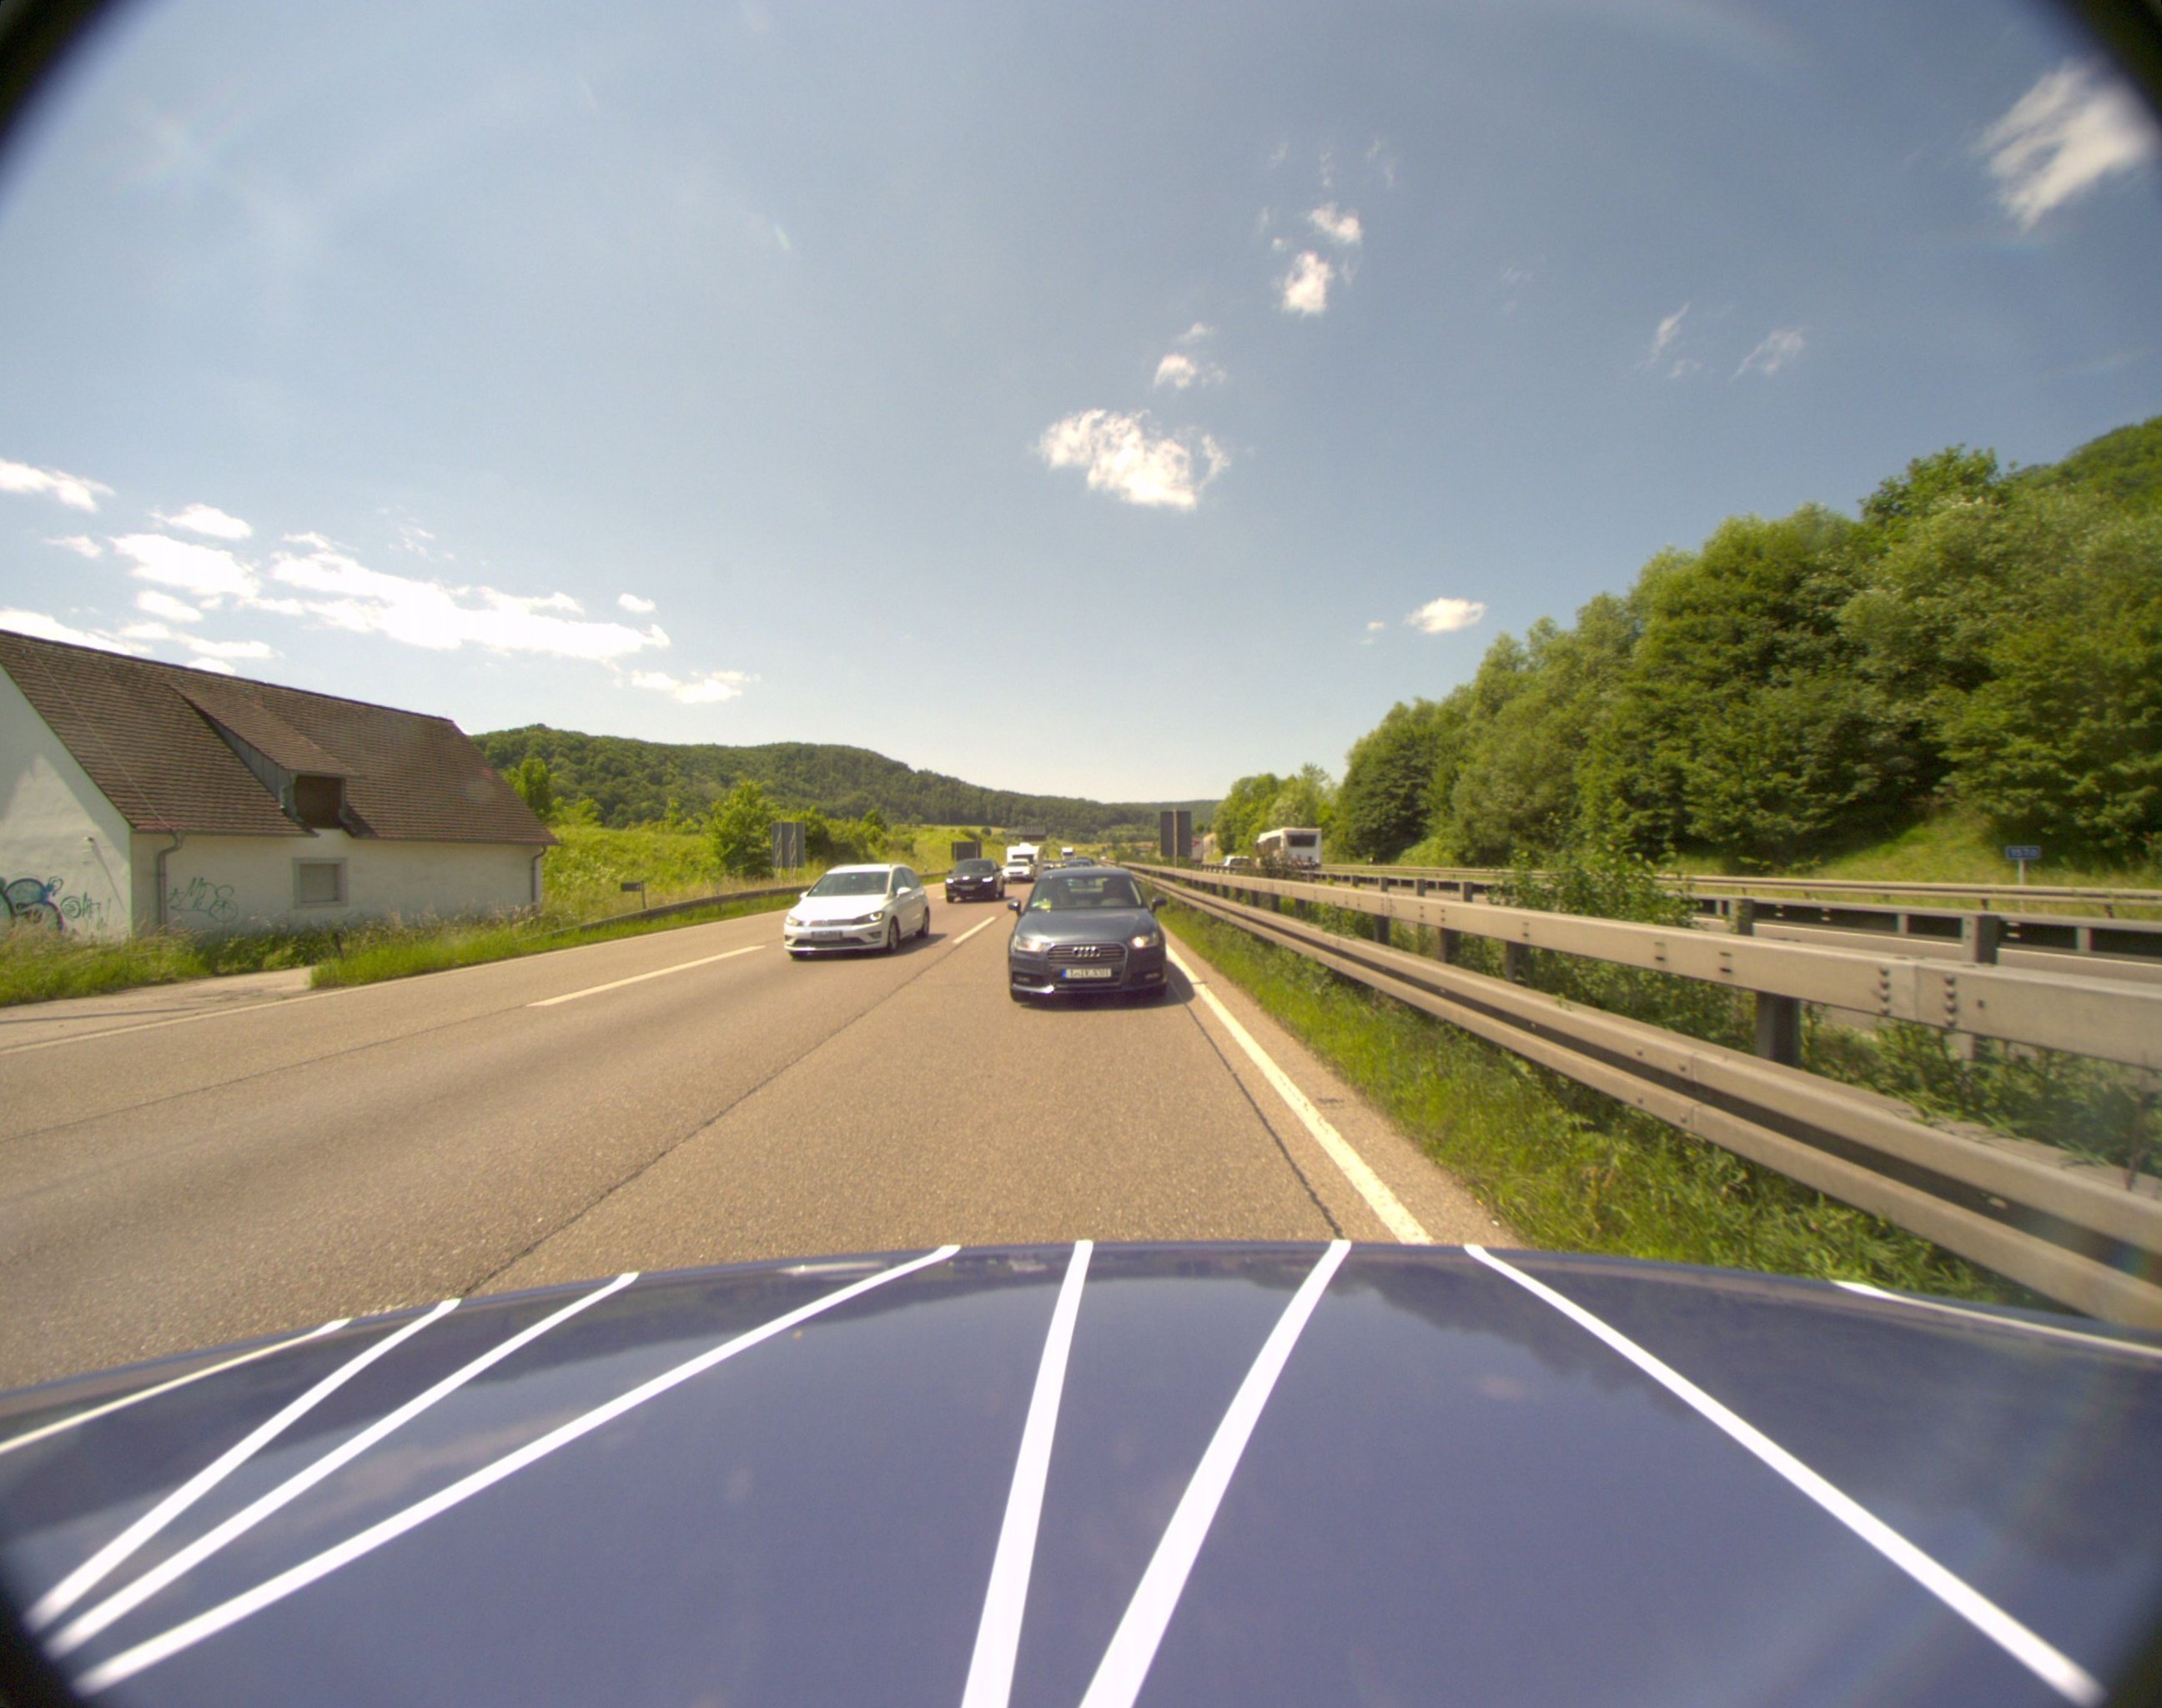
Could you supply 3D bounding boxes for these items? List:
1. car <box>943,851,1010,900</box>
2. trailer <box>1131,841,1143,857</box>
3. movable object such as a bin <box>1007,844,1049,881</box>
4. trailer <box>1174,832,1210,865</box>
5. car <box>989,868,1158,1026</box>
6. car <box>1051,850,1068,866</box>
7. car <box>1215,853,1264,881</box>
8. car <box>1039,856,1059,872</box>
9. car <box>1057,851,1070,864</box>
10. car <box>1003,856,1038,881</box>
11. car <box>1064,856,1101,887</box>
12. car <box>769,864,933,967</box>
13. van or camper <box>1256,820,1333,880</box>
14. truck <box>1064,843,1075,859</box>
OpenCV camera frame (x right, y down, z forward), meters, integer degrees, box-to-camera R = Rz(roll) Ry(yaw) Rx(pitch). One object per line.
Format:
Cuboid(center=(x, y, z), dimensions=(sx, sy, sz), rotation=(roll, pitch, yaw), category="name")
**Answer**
Cuboid(center=(-3.991, 0.798, 29.708), dimensions=(1.893, 1.761, 4.172), rotation=(-1, 0, 2), category="car")
Cuboid(center=(14.966, -1.382, 204.505), dimensions=(2.587, 3.981, 12.601), rotation=(-2, 0, 1), category="trailer")
Cuboid(center=(-3.968, 0.603, 57.727), dimensions=(2.481, 2.616, 6.709), rotation=(-2, 0, 1), category="movable object such as a bin")
Cuboid(center=(14.187, -0.677, 98.388), dimensions=(2.789, 3.976, 14.159), rotation=(-1, 0, 1), category="trailer")
Cuboid(center=(0.060, 0.940, 9.302), dimensions=(1.591, 1.401, 4.001), rotation=(-2, 0, 4), category="car")
Cuboid(center=(-2.816, 0.555, 99.009), dimensions=(1.999, 2.002, 3.998), rotation=(-1, 0, -6), category="car")
Cuboid(center=(8.829, 0.677, 42.662), dimensions=(1.802, 1.455, 4.536), rotation=(-1, 0, 0), category="car")
Cuboid(center=(-3.190, 0.946, 76.513), dimensions=(1.711, 1.542, 4.000), rotation=(-1, 0, 1), category="car")
Cuboid(center=(-2.787, 0.506, 123.251), dimensions=(1.998, 2.002, 4.000), rotation=(-2, 0, 0), category="car")
Cuboid(center=(-3.985, 0.923, 50.586), dimensions=(1.821, 1.574, 4.000), rotation=(-2, 0, 1), category="car")
Cuboid(center=(0.134, 0.932, 41.407), dimensions=(1.835, 1.586, 4.001), rotation=(-1, 0, 2), category="car")
Cuboid(center=(-4.044, 0.999, 14.085), dimensions=(1.777, 1.532, 4.054), rotation=(-2, 0, -1), category="car")
Cuboid(center=(12.715, -0.232, 45.954), dimensions=(2.596, 3.316, 7.648), rotation=(-1, 0, 1), category="van or camper")
Cuboid(center=(-2.735, -0.691, 181.741), dimensions=(2.336, 3.623, 7.006), rotation=(-2, 0, 1), category="truck")
